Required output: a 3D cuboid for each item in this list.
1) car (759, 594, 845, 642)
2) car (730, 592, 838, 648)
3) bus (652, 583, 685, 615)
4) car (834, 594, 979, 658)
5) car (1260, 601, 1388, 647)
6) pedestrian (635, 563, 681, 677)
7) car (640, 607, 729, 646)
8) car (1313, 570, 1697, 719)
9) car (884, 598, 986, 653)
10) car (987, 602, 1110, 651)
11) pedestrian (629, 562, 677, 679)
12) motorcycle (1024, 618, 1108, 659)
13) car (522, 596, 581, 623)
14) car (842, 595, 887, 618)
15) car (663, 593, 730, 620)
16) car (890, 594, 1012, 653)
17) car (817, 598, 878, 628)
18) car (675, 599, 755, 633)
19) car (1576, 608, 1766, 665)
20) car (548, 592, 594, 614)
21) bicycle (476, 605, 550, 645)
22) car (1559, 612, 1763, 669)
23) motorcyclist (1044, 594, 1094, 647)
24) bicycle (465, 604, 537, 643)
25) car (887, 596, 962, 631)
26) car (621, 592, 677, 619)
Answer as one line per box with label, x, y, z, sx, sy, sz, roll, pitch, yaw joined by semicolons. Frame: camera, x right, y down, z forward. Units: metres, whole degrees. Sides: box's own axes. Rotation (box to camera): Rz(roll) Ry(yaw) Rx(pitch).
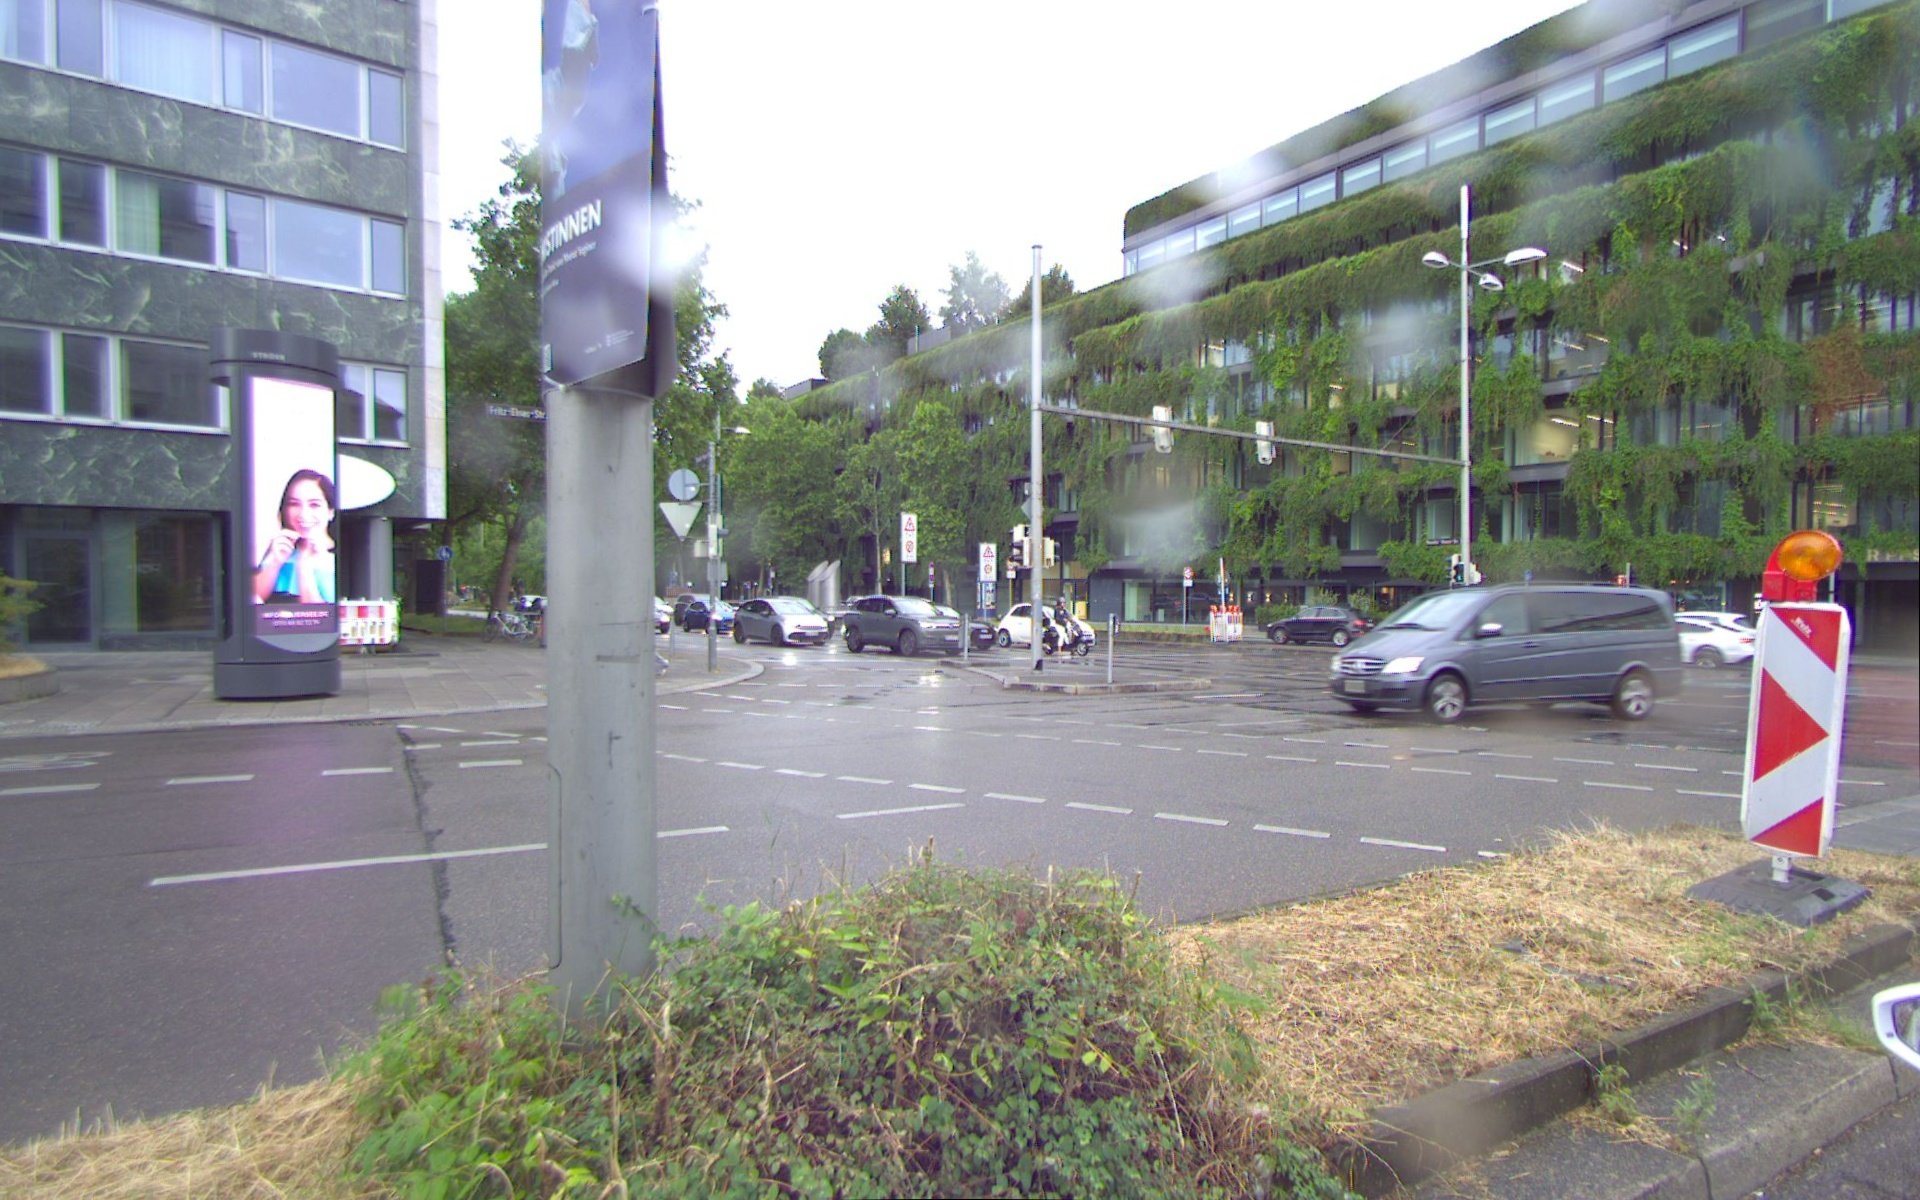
car;-6.286;0.666;39.664;1.841;1.791;4.139;1;0;-32
car;-6.012;0.635;34.030;1.982;1.773;3.956;1;0;-38
bus;-32.013;-0.145;110.228;1.783;3.385;5.922;2;0;-34
car;-1.614;0.700;29.170;1.984;1.709;4.314;1;0;-41
car;14.382;0.931;39.850;1.985;1.660;4.364;2;0;-42
pedestrian;-5.542;0.367;18.453;0.715;2.040;0.598;1;0;-10
car;-10.895;1.004;39.619;1.982;1.389;4.131;1;0;-37
car;7.903;0.642;14.695;4.881;1.953;1.994;1;0;-14
car;-1.005;0.912;37.758;1.978;1.923;4.139;1;0;-33
car;2.878;0.855;33.460;1.981;1.495;3.958;1;0;-37
pedestrian;-5.447;0.368;17.834;0.715;2.040;0.598;1;0;-10
motorcycle;3.040;1.104;29.063;2.331;1.068;0.830;2;0;41
car;-22.147;0.508;54.388;1.982;1.389;4.131;1;0;-37
car;-7.360;0.492;77.241;1.783;1.588;3.962;2;0;-34
car;-13.923;0.339;52.919;1.982;1.389;4.131;1;0;-37
car;-0.351;0.708;32.492;1.981;1.773;3.958;1;0;-37
car;-6.617;0.730;58.825;1.834;1.692;3.958;1;0;-37
car;-10.948;0.694;44.796;1.982;1.389;4.131;1;0;-37
car;22.218;1.102;31.520;1.799;1.532;4.636;2;0;-45
car;-28.261;0.232;72.850;1.919;1.544;4.054;1;0;-40
bicycle;-12.293;0.679;27.629;1.765;1.066;0.581;1;0;-35
car;20.307;1.175;29.267;1.799;1.532;4.636;2;-3;-45
motorcyclist;3.139;0.579;28.987;1.153;1.492;0.832;2;0;40
bicycle;-12.971;0.663;28.406;1.765;1.066;0.581;1;0;-35
car;-1.867;0.696;52.560;1.837;1.692;3.952;2;0;-41
car;-18.678;0.335;60.204;1.918;1.544;4.057;1;0;-38
